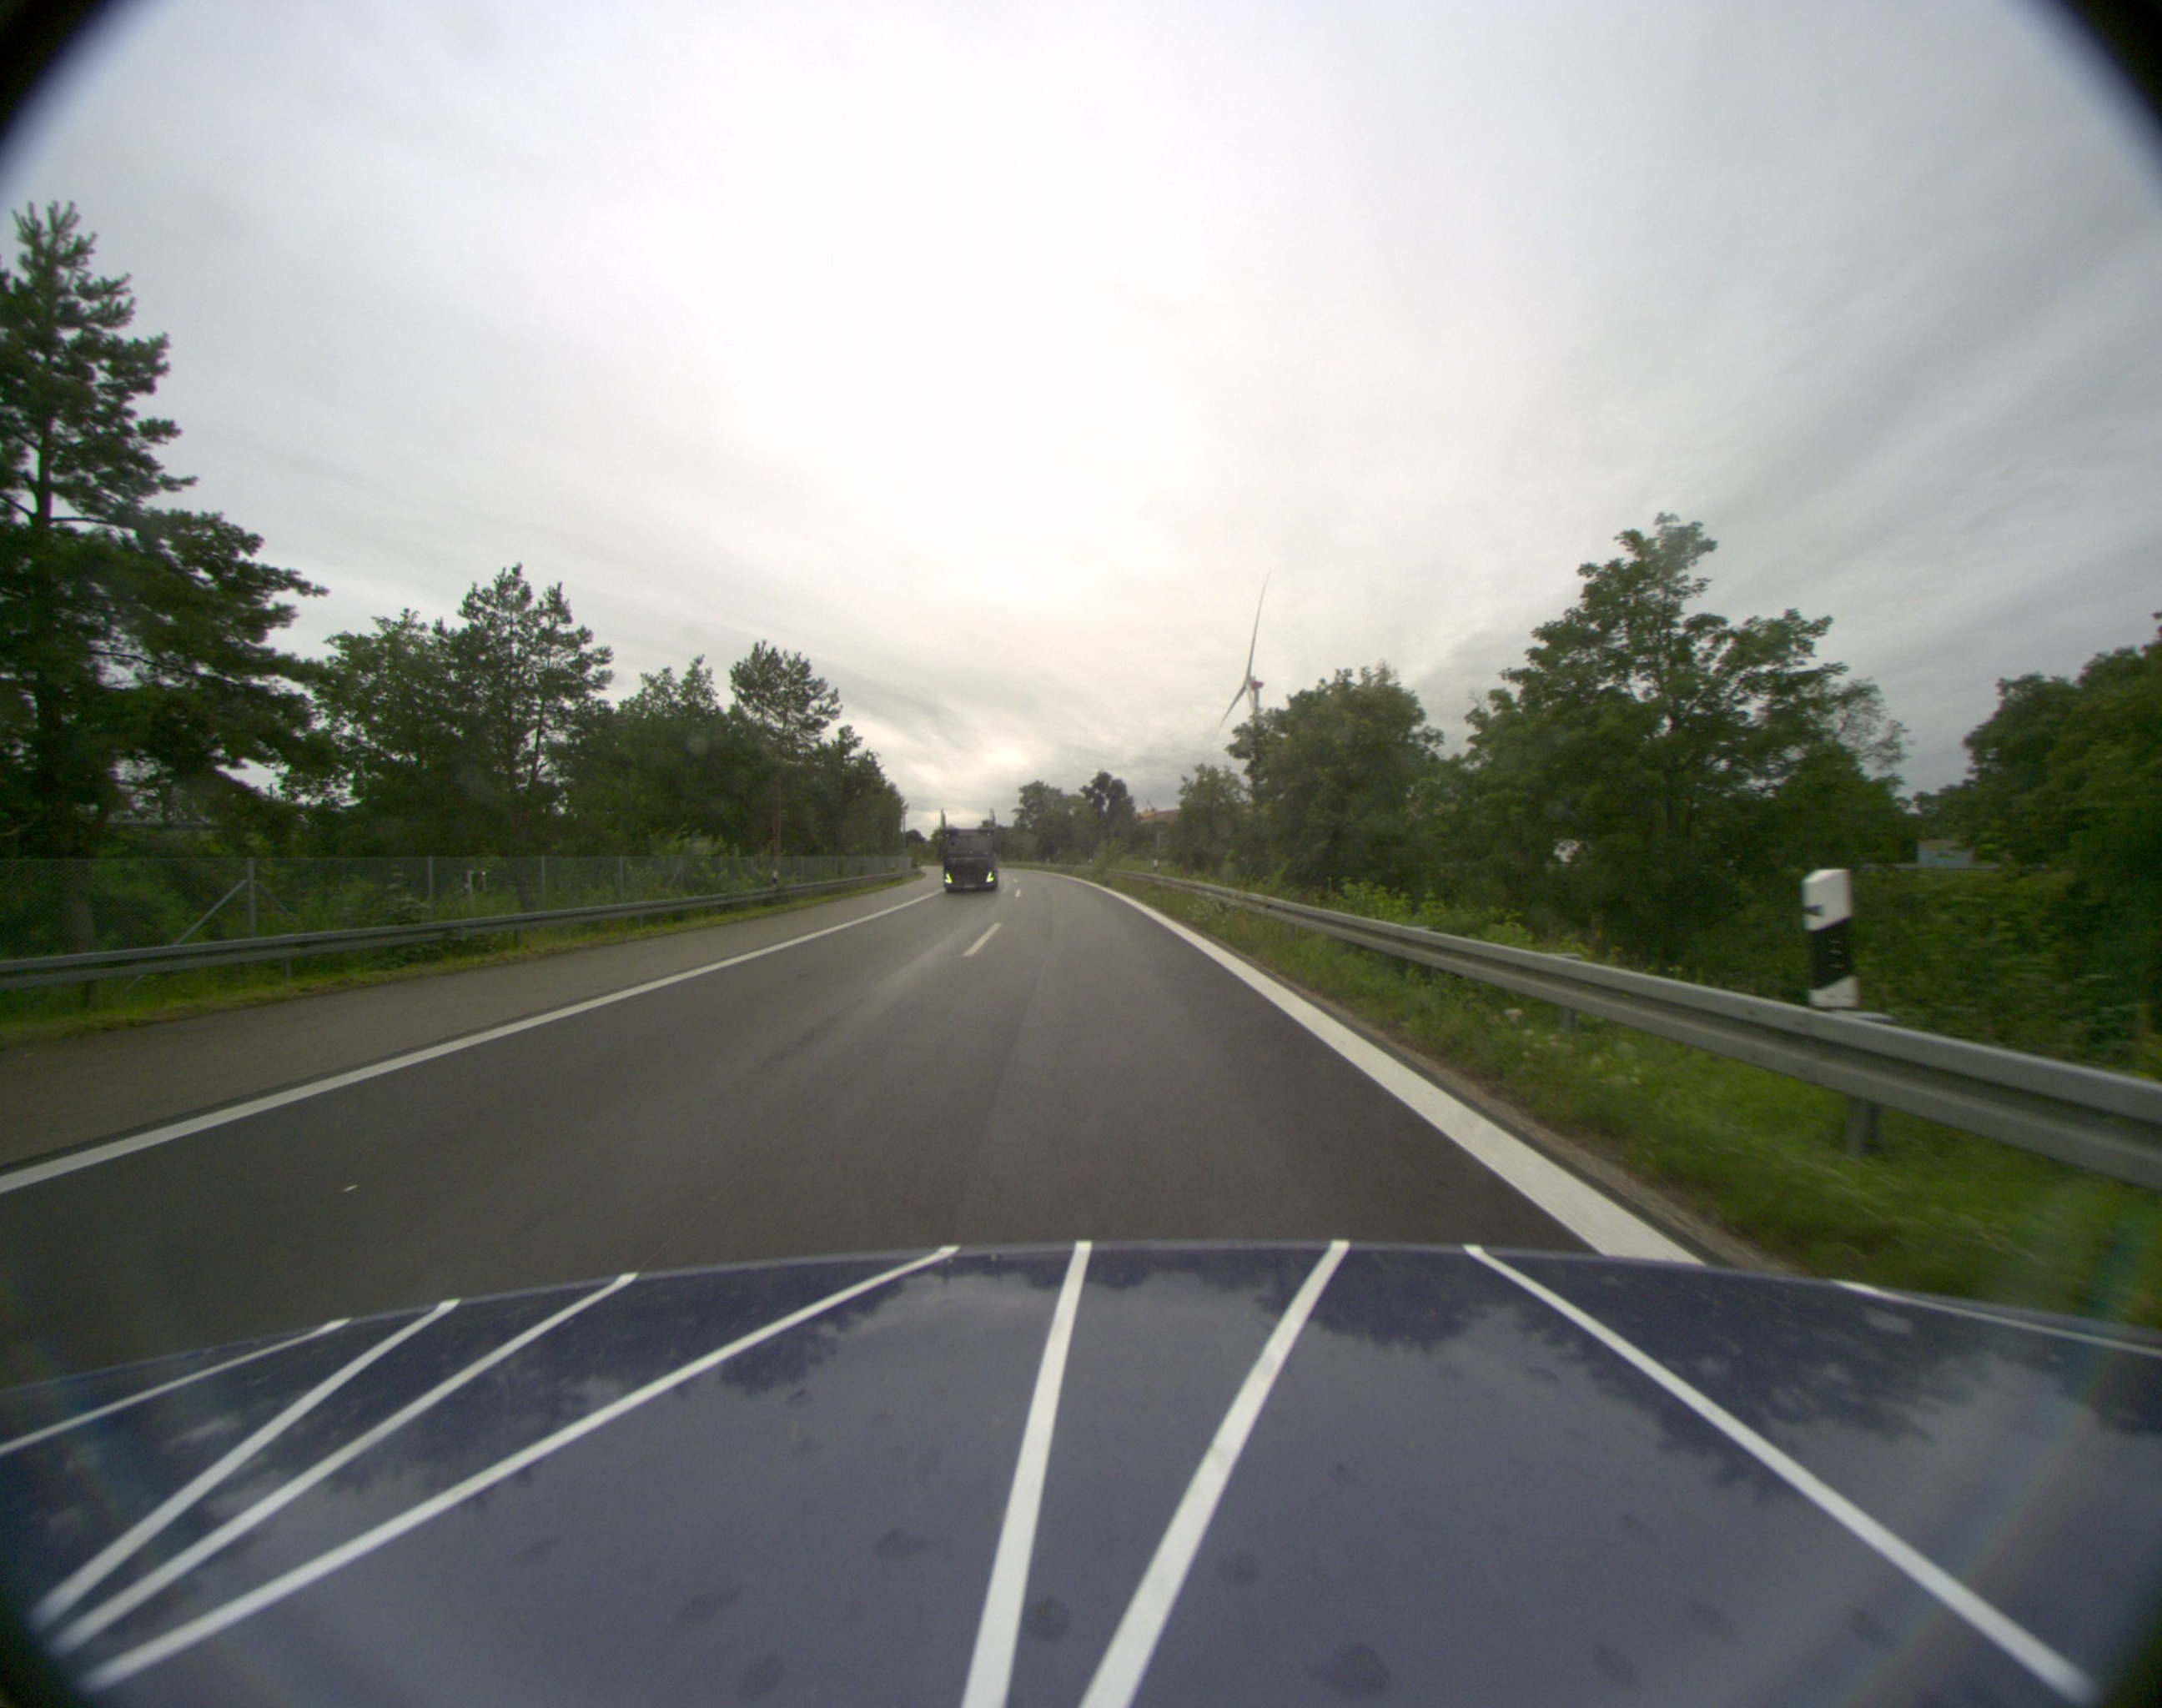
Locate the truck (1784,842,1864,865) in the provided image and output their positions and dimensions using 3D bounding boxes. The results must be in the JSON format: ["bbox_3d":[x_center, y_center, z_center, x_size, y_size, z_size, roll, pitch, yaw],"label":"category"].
[{"bbox_3d":[87.598,-0.056,89.669,2.257,2.614,6.434,-1,1,-34],"label":"truck"}]

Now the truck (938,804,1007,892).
[{"bbox_3d":[-5.447,-0.277,39.728,2.746,3.944,9.124,-3,0,-4],"label":"truck"}]

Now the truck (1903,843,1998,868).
[{"bbox_3d":[93.721,0.105,82.006,2.609,2.614,6.434,-1,1,-33],"label":"truck"}]

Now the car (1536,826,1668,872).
[{"bbox_3d":[57.507,-0.556,84.329,3.125,4.704,11.700,-1,1,-35],"label":"car"}]
